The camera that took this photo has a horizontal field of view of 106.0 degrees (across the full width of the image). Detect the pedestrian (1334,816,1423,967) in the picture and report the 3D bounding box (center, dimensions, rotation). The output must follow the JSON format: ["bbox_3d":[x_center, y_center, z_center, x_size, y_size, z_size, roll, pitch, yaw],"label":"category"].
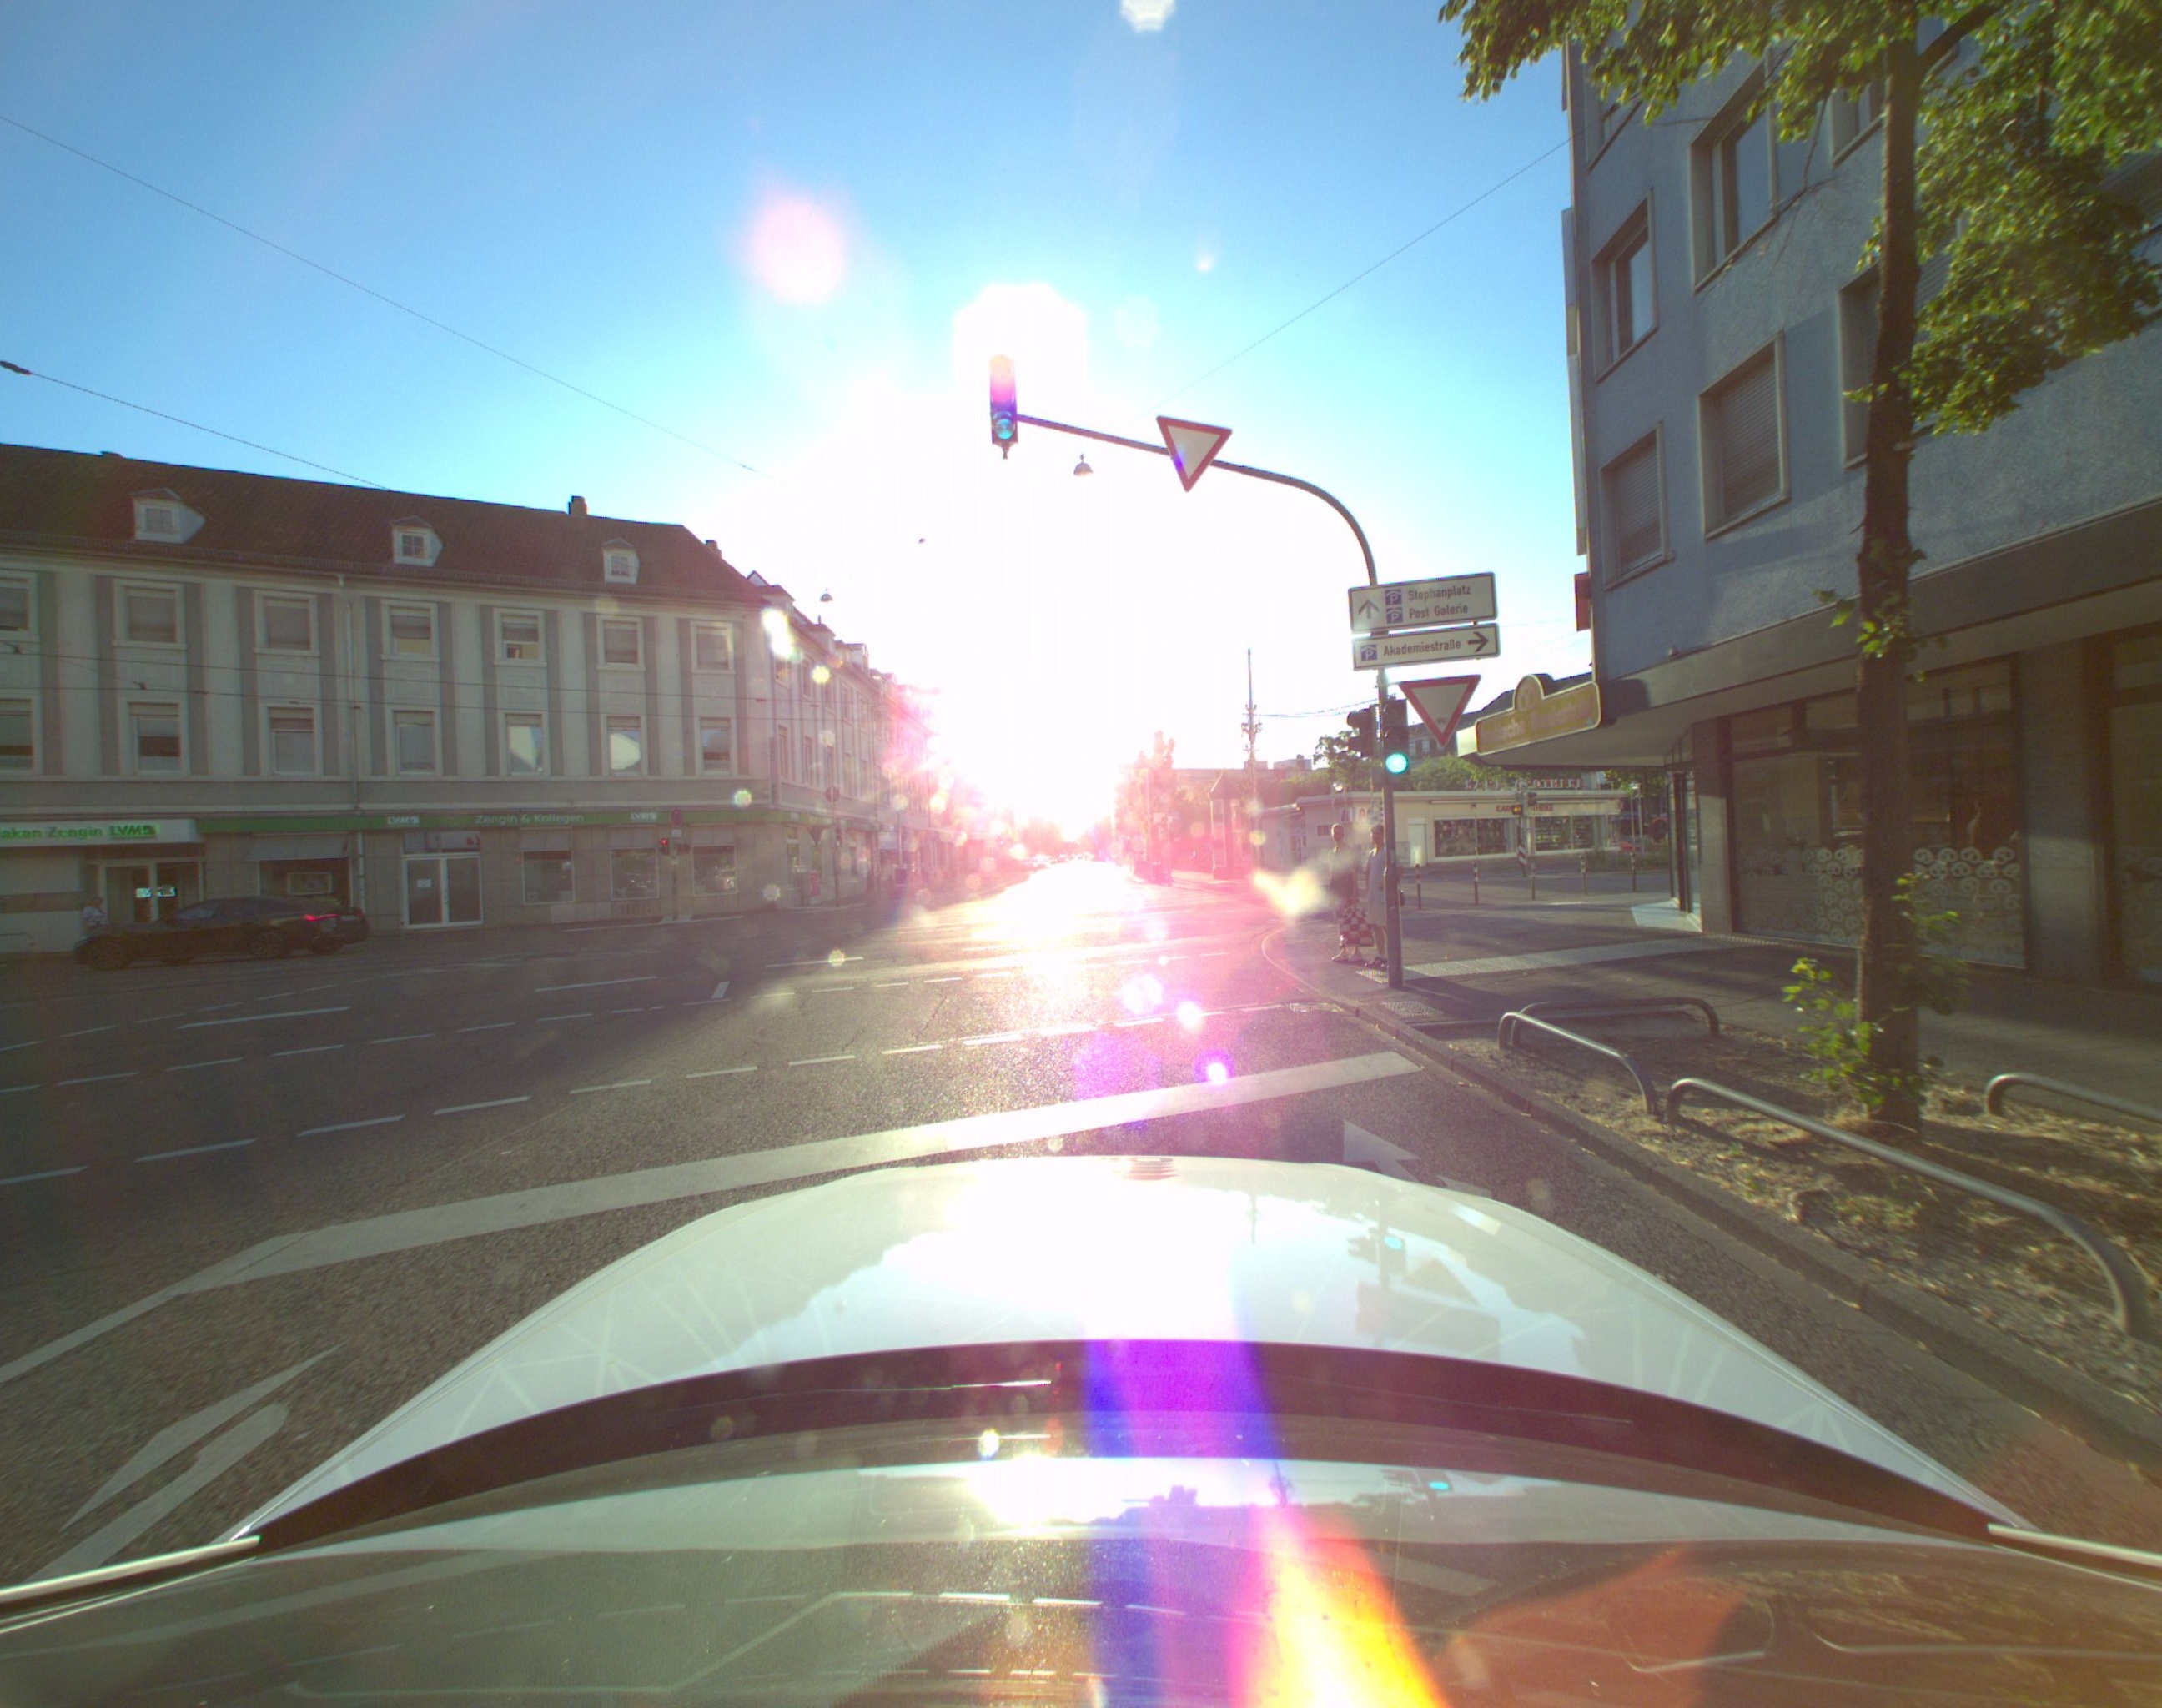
[{"bbox_3d":[3.674,0.445,10.094,0.639,1.773,0.744,-2,0,-21],"label":"pedestrian"}]

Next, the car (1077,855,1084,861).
[{"bbox_3d":[-0.203,1.168,246.474,1.986,1.816,4.002,-1,-1,2],"label":"car"}]

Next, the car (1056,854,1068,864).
[{"bbox_3d":[-3.481,0.976,151.346,1.986,1.684,4.002,-3,0,2],"label":"car"}]

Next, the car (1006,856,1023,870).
[{"bbox_3d":[-7.296,0.958,89.570,1.540,1.469,3.351,-2,-1,0],"label":"car"}]

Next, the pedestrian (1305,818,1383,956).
[{"bbox_3d":[3.535,0.428,10.979,0.588,1.773,0.742,-2,0,-31],"label":"pedestrian"}]

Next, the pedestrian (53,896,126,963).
[{"bbox_3d":[-26.228,1.980,21.558,0.810,1.640,0.826,-2,1,-8],"label":"pedestrian"}]

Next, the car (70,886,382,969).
[{"bbox_3d":[-19.072,1.593,18.417,4.530,1.480,1.889,-2,0,-11],"label":"car"}]

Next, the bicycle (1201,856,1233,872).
[{"bbox_3d":[9.005,0.639,53.998,2.066,0.982,0.561,-2,-1,8],"label":"bicycle"}]

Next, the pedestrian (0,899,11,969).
[{"bbox_3d":[-27.436,2.031,20.144,0.815,1.728,0.821,-2,1,-24],"label":"pedestrian"}]

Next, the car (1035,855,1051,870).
[{"bbox_3d":[-3.967,0.877,85.259,1.540,1.468,3.351,-2,-1,0],"label":"car"}]

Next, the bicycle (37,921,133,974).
[{"bbox_3d":[-24.399,2.273,19.991,0.498,1.059,1.734,-4,1,-15],"label":"bicycle"}]

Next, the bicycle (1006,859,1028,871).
[{"bbox_3d":[-6.223,1.081,79.308,2.100,1.204,0.503,-1,-1,20],"label":"bicycle"}]

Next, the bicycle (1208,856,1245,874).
[{"bbox_3d":[8.836,0.665,49.441,2.135,1.043,0.561,-2,-1,8],"label":"bicycle"}]

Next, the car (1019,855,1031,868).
[{"bbox_3d":[-6.940,0.902,101.256,1.303,1.582,2.888,-2,-1,0],"label":"car"}]

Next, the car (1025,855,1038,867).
[{"bbox_3d":[-6.531,0.899,107.047,1.478,1.559,3.258,-2,-1,0],"label":"car"}]

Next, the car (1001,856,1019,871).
[{"bbox_3d":[-7.509,0.964,85.926,1.540,1.483,3.351,-3,0,0],"label":"car"}]

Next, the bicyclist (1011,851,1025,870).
[{"bbox_3d":[-6.169,0.631,79.326,1.120,1.791,0.768,-1,-1,20],"label":"bicyclist"}]

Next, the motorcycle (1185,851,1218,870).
[{"bbox_3d":[8.437,0.447,57.125,2.223,1.201,0.721,-2,0,5],"label":"motorcycle"}]

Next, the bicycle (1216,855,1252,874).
[{"bbox_3d":[9.063,0.628,48.249,2.008,1.044,0.561,-2,-1,8],"label":"bicycle"}]

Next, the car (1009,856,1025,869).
[{"bbox_3d":[-7.393,0.978,94.548,1.540,1.469,3.351,-2,-1,0],"label":"car"}]

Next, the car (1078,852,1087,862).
[{"bbox_3d":[0.329,0.631,177.730,1.986,2.014,4.001,-1,-1,2],"label":"car"}]
